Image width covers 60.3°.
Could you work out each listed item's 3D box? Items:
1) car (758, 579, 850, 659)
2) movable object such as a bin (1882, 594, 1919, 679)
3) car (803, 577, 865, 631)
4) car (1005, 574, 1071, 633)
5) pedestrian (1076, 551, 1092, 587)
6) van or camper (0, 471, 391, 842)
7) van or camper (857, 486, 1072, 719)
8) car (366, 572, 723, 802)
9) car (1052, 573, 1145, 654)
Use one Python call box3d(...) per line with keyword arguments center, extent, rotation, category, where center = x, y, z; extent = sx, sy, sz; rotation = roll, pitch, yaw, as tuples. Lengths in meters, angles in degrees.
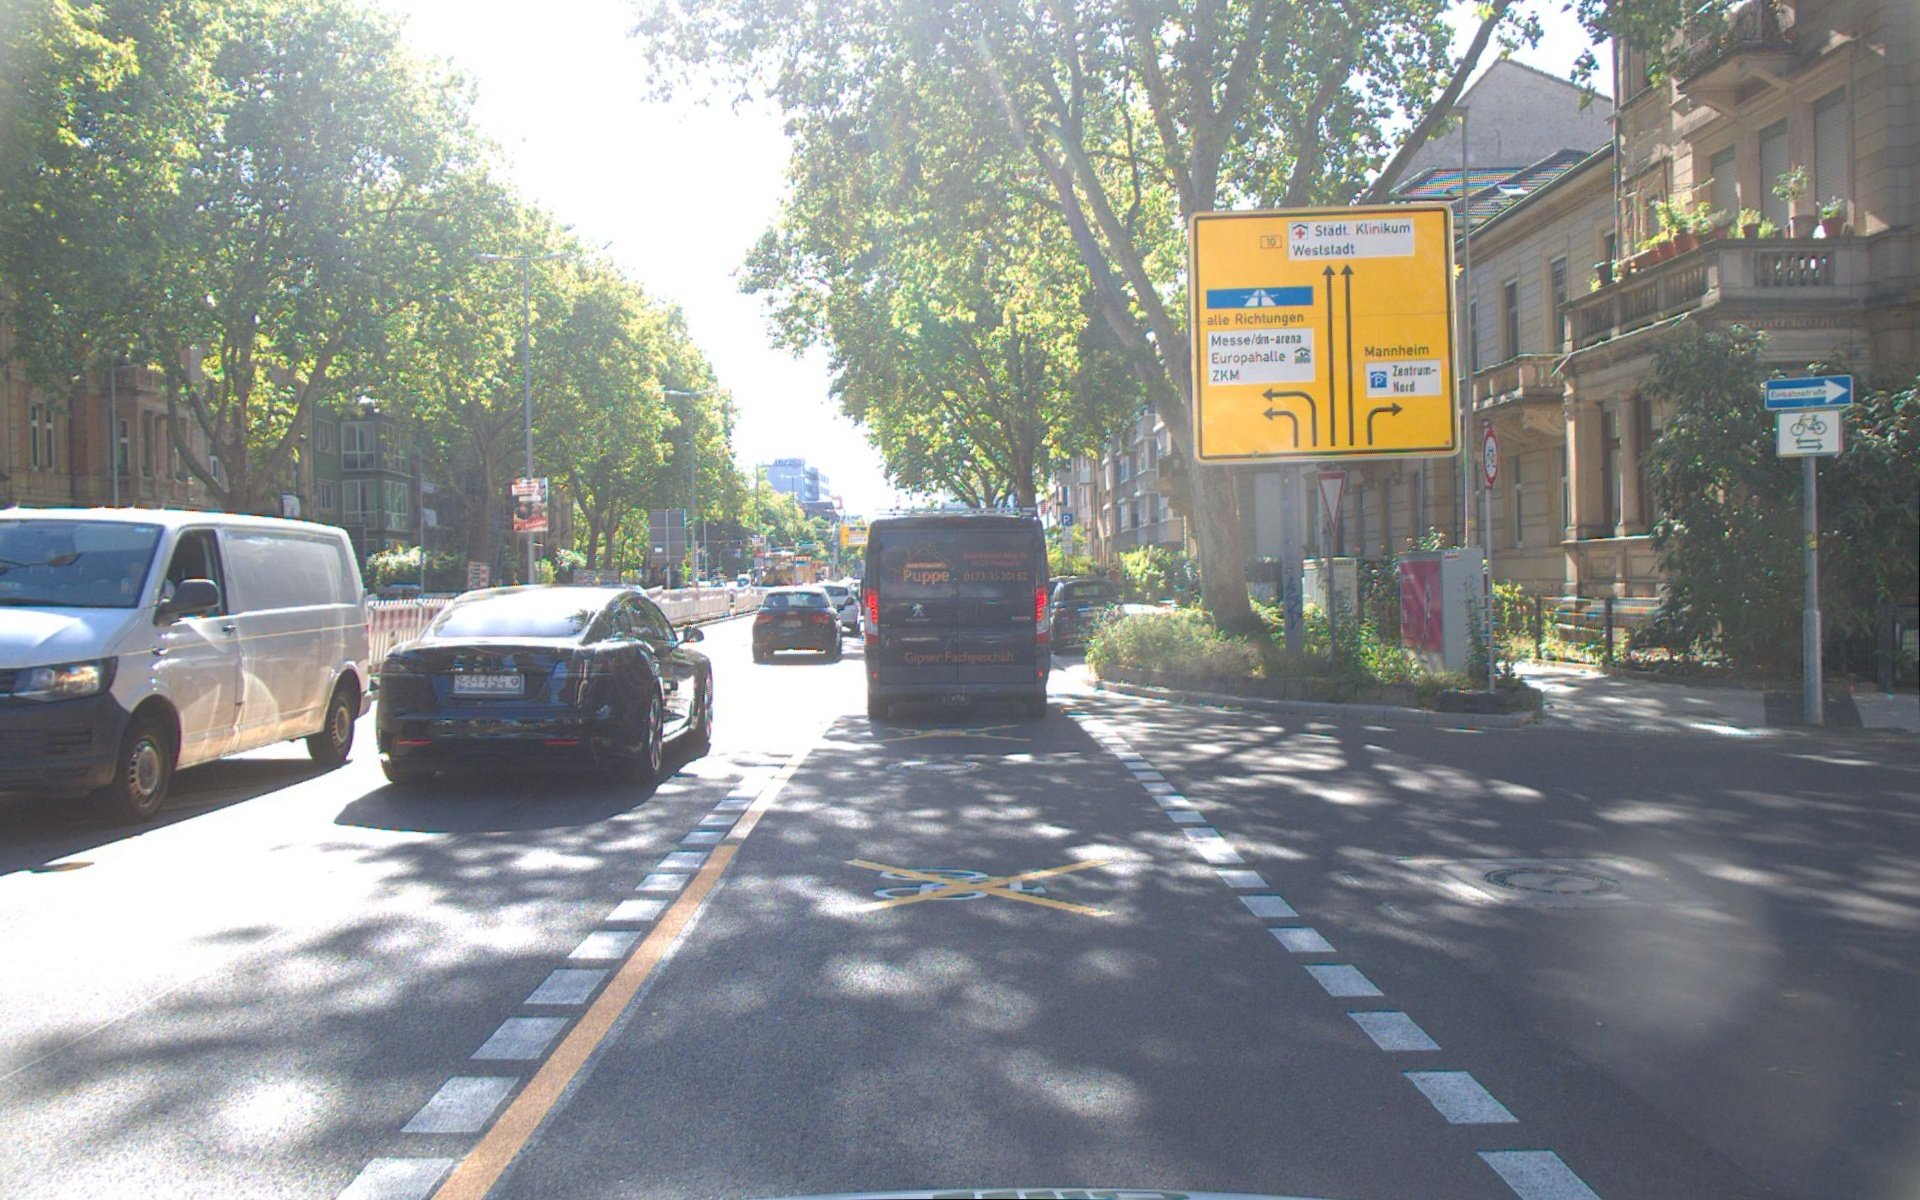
box3d(center=(-3.115, 0.345, 33.645), extent=(1.587, 1.512, 3.733), rotation=(0, 1, -1), category="car")
box3d(center=(11.488, 0.421, 19.710), extent=(0.673, 0.987, 0.548), rotation=(-2, 0, 1), category="movable object such as a bin")
box3d(center=(-3.636, 0.091, 48.173), extent=(1.587, 1.512, 3.733), rotation=(0, 1, -1), category="car")
box3d(center=(2.209, 0.076, 47.785), extent=(1.736, 1.595, 4.000), rotation=(-2, 0, 1), category="car")
box3d(center=(8.212, -2.071, 109.832), extent=(1.036, 2.387, 0.816), rotation=(0, 0, 1), category="pedestrian")
box3d(center=(-5.872, 0.288, 11.758), extent=(1.953, 2.049, 5.327), rotation=(0, 0, -2), category="van or camper")
box3d(center=(-0.046, -0.005, 19.386), extent=(2.200, 2.387, 4.535), rotation=(-1, 1, -3), category="van or camper")
box3d(center=(-3.089, 0.556, 13.270), extent=(1.800, 1.509, 4.475), rotation=(-1, 1, -1), category="car")
box3d(center=(2.878, 0.249, 34.953), extent=(1.736, 1.596, 4.001), rotation=(-1, 0, 2), category="car")
